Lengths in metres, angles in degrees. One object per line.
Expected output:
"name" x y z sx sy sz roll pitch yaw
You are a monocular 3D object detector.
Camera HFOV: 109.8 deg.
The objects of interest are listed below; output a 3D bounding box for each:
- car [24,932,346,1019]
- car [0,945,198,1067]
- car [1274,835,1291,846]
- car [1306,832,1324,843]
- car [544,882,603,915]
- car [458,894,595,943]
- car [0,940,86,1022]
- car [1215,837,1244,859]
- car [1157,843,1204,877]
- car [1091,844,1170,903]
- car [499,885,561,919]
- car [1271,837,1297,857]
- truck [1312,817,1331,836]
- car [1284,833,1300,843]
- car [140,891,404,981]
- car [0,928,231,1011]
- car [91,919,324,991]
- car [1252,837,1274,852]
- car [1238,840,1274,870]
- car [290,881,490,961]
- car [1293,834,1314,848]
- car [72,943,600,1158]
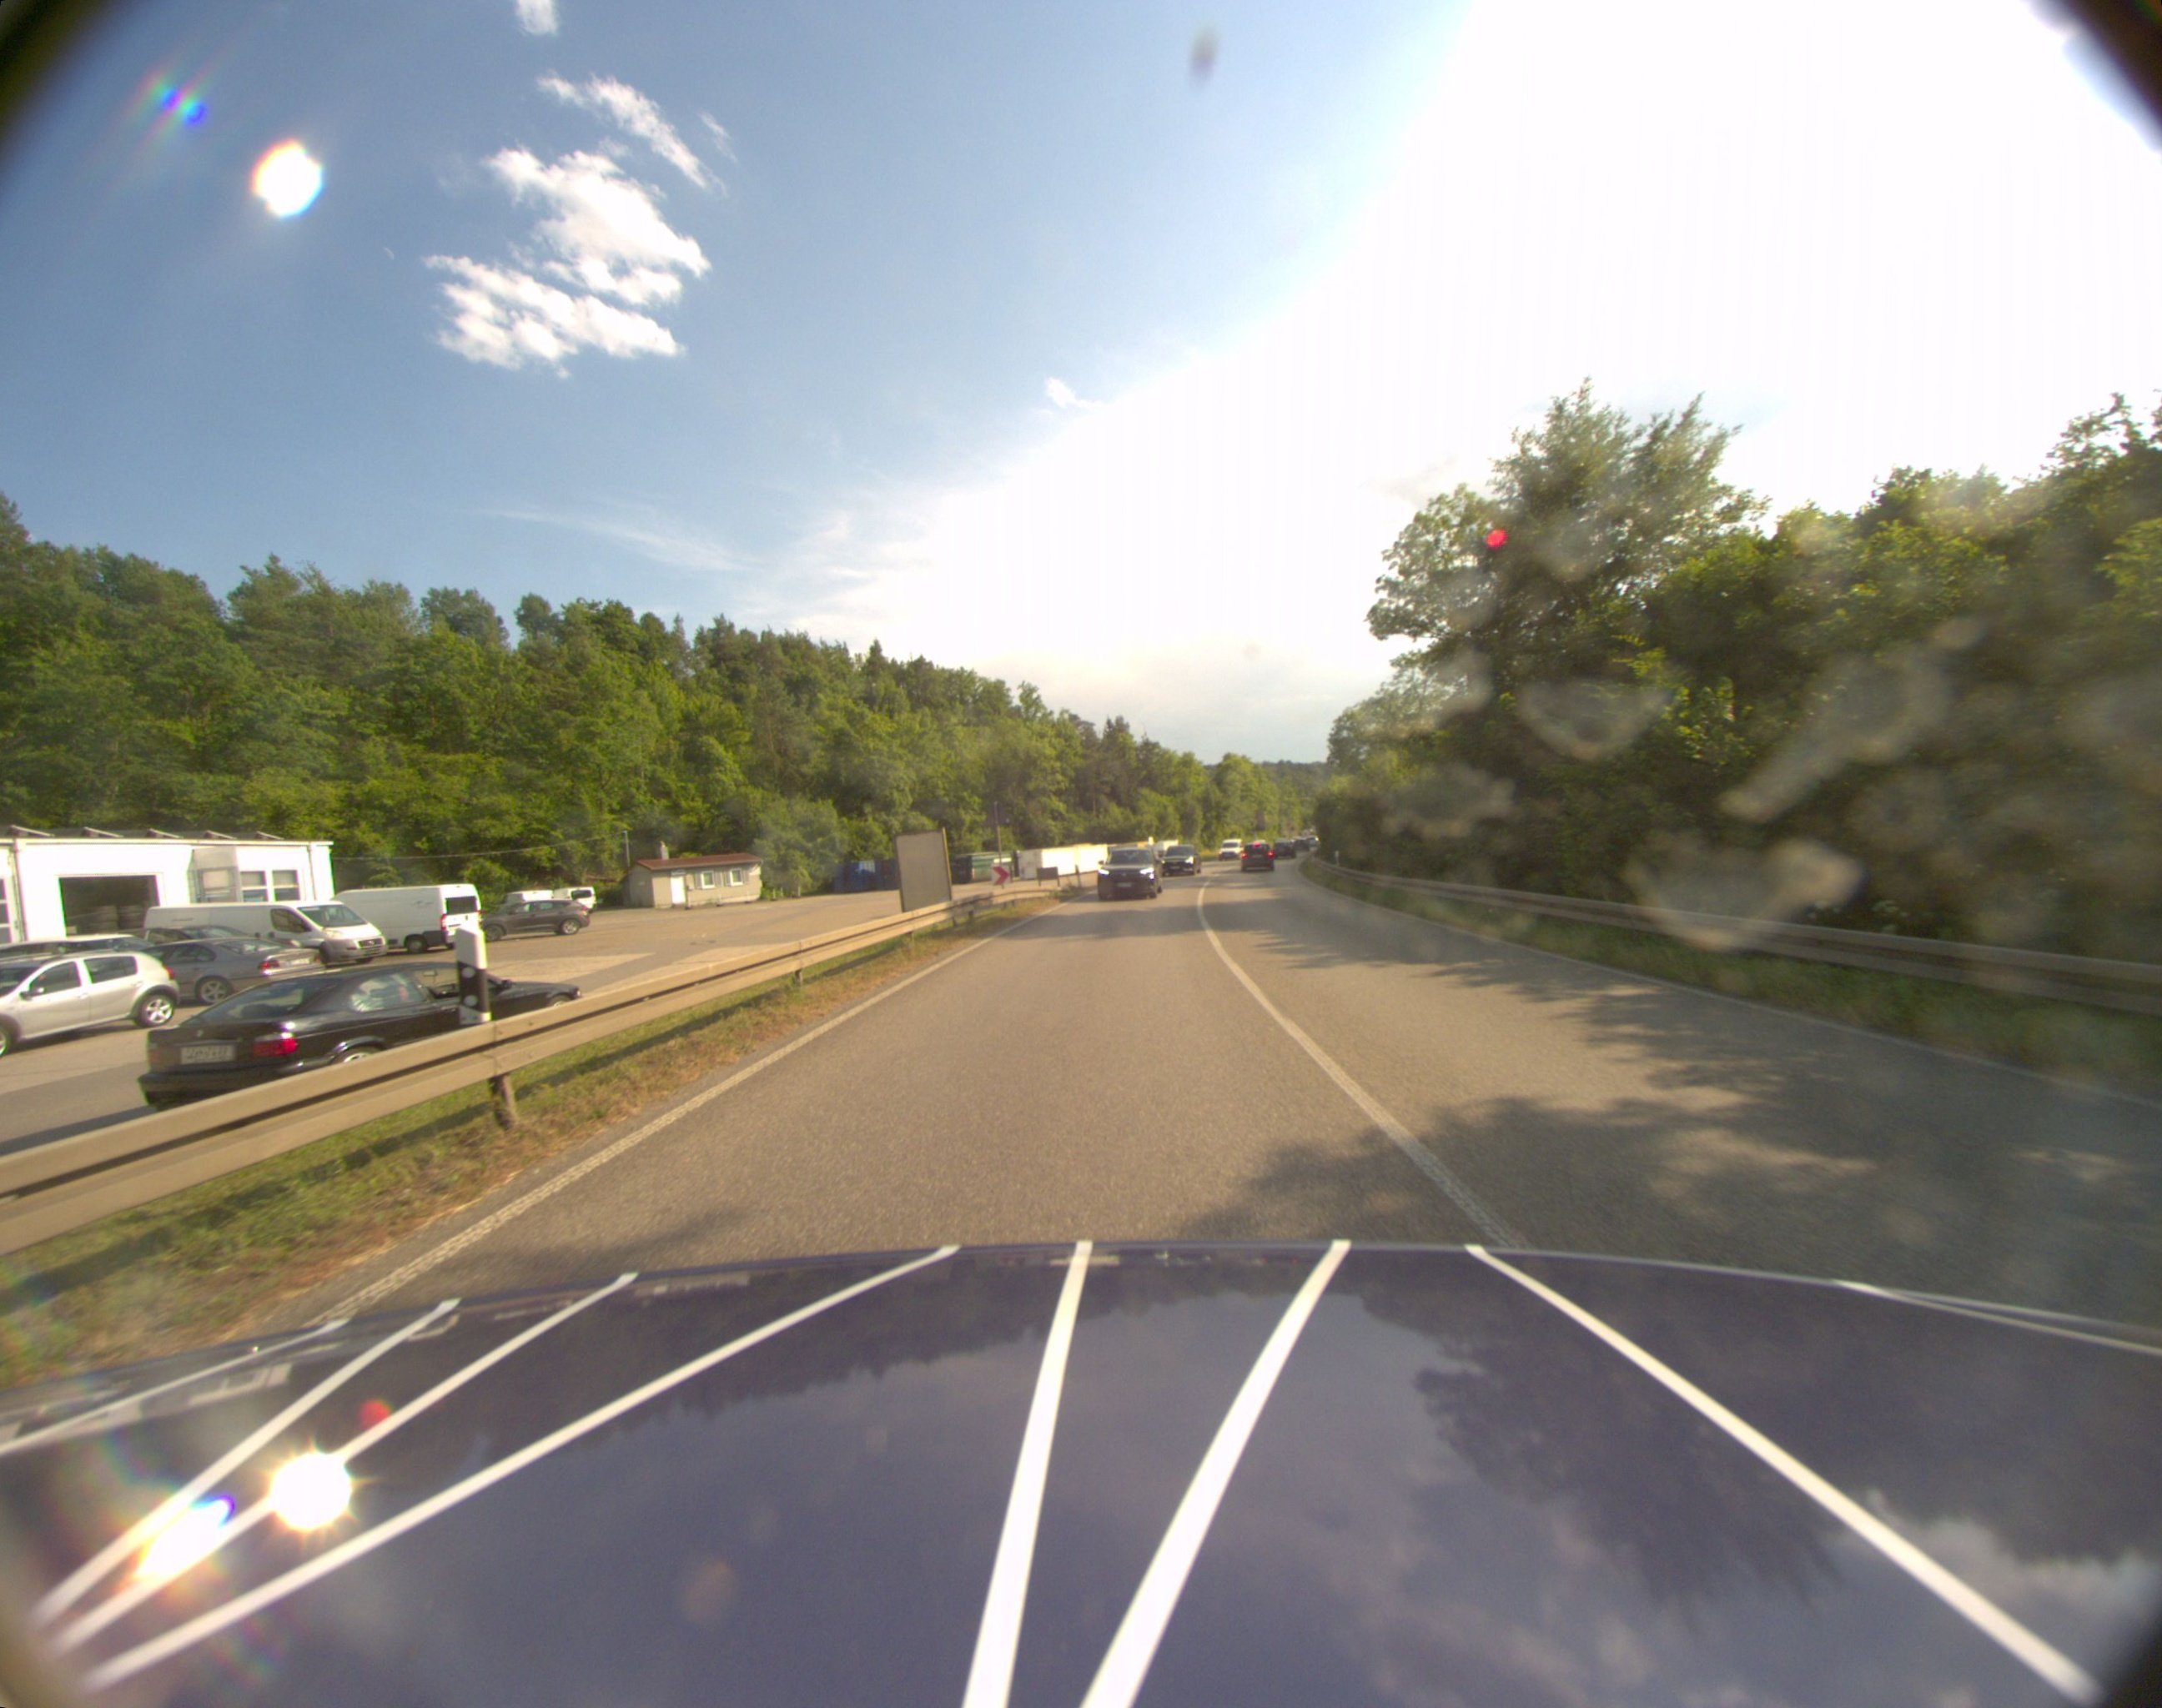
"car" -20.671 2.774 17.754 4.734 1.425 1.956 -2 1 -7
"car" -18.376 2.666 13.145 1.796 1.587 3.986 -3 1 -9
"car" 29.563 -1.988 111.493 1.857 1.412 4.424 -5 1 22
"car" 31.947 -2.246 103.697 1.794 1.437 3.799 -2 1 24
"car" -36.007 3.171 53.849 4.548 2.002 2.003 -4 1 37
"car" -23.650 2.716 32.510 1.938 1.659 4.413 -4 -1 45
"car" -25.398 2.903 16.780 3.999 1.601 1.894 -2 1 -5
"car" 12.893 -0.558 65.872 1.865 1.710 4.768 -4 1 17
"car" 5.405 0.283 40.961 1.846 1.561 4.261 -2 1 16
"car" 1.756 0.573 25.218 1.858 1.631 4.444 -3 1 13
"car" -37.572 3.277 51.784 4.087 2.002 2.003 -4 1 34
"car" 16.646 -0.621 62.199 1.853 1.499 4.407 -1 2 16
"truck" 40.361 -4.595 127.462 2.458 3.055 6.272 -2 2 22
"car" 35.644 -2.677 128.293 1.913 1.457 4.542 -5 1 22
"car" -25.408 2.517 24.088 5.490 2.261 2.294 -3 1 -5
"car" -24.994 2.914 19.346 4.252 1.601 1.894 -4 1 -5
"car" -24.918 2.847 21.831 4.171 1.601 1.923 -2 1 -5
"car" 21.258 -1.114 88.741 1.894 1.437 4.481 -4 1 20
"car" 9.969 0.023 43.088 1.870 1.580 4.252 -1 1 15
"car" -25.221 2.406 27.931 4.923 2.435 2.206 -3 1 -7
"car" 23.963 -1.402 81.910 1.662 1.437 3.927 -2 1 23
"car" -8.214 2.068 9.107 1.828 1.345 4.273 -4 0 5
